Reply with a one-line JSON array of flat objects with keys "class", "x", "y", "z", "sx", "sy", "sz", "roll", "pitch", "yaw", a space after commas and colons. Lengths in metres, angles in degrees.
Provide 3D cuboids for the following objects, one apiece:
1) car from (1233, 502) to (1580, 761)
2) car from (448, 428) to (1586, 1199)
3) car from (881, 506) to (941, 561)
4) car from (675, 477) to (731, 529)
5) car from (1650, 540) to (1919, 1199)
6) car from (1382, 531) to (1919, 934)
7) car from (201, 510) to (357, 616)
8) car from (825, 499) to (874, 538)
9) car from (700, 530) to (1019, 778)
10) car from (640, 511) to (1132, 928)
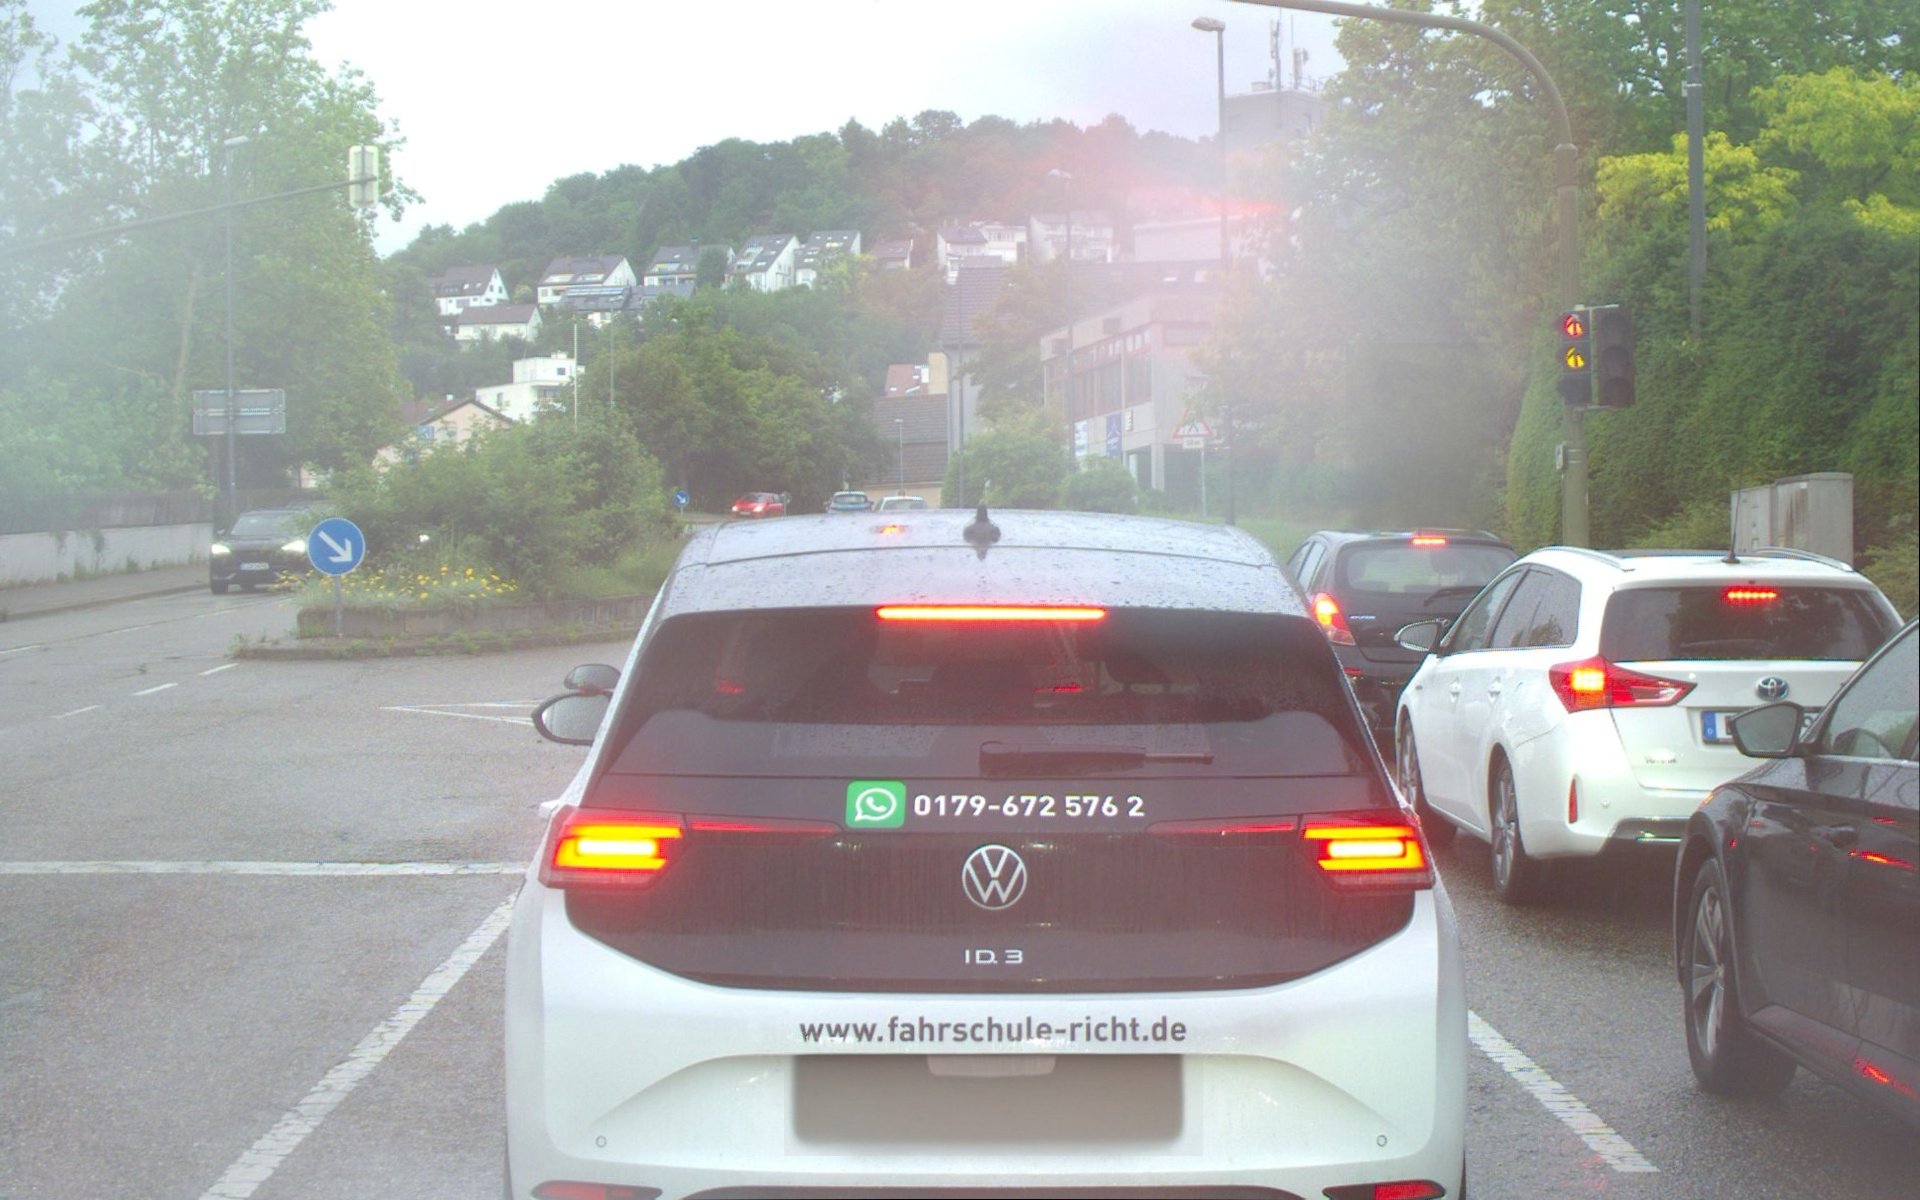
[{"class": "car", "x": 2.933, "y": 0.172, "z": 23.365, "sx": 1.775, "sy": 1.576, "sz": 4.000, "roll": 1, "pitch": 1, "yaw": 0}, {"class": "car", "x": 0.042, "y": 0.494, "z": 7.944, "sx": 1.837, "sy": 1.623, "sz": 4.616, "roll": 1, "pitch": 1, "yaw": -1}, {"class": "car", "x": -1.381, "y": -1.840, "z": 96.040, "sx": 1.581, "sy": 1.462, "sz": 4.000, "roll": -1, "pitch": 1, "yaw": -1}, {"class": "car", "x": -10.470, "y": -3.932, "z": 140.340, "sx": 1.993, "sy": 2.007, "sz": 4.000, "roll": 1, "pitch": 0, "yaw": 0}, {"class": "car", "x": 2.846, "y": 0.634, "z": 7.481, "sx": 1.838, "sy": 1.461, "sz": 4.350, "roll": 1, "pitch": 1, "yaw": 1}, {"class": "car", "x": 3.063, "y": 0.461, "z": 14.942, "sx": 1.837, "sy": 1.461, "sz": 4.117, "roll": 1, "pitch": 1, "yaw": -1}, {"class": "car", "x": -12.440, "y": -0.693, "z": 63.035, "sx": 1.993, "sy": 1.798, "sz": 4.000, "roll": -3, "pitch": 1, "yaw": 0}, {"class": "car", "x": -4.203, "y": -3.091, "z": 130.566, "sx": 1.761, "sy": 1.413, "sz": 3.749, "roll": -1, "pitch": 2, "yaw": -3}, {"class": "car", "x": -0.630, "y": 0.278, "z": 22.067, "sx": 1.837, "sy": 1.395, "sz": 3.831, "roll": 1, "pitch": 1, "yaw": -1}, {"class": "car", "x": -0.326, "y": 0.404, "z": 15.165, "sx": 1.837, "sy": 1.549, "sz": 4.175, "roll": 1, "pitch": 1, "yaw": -1}]
